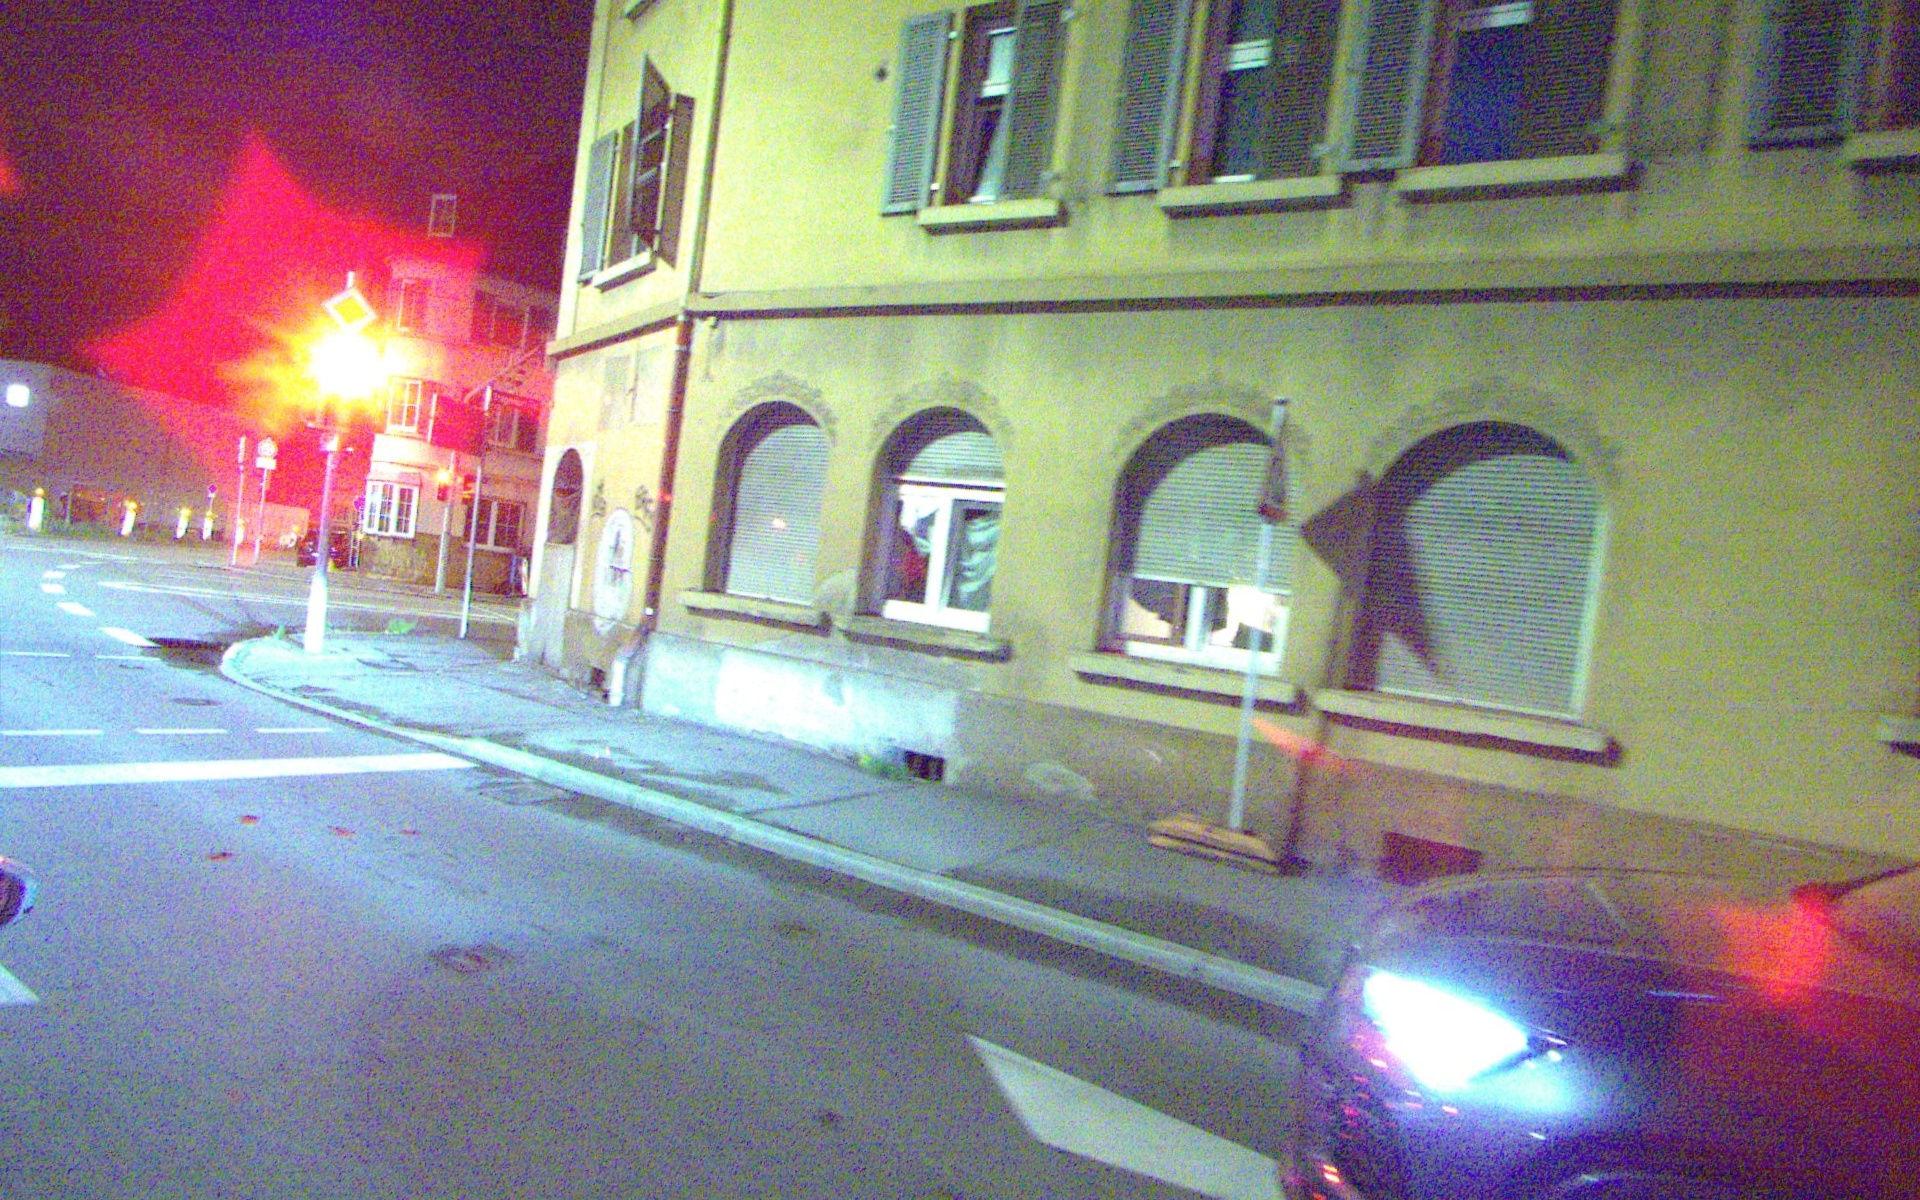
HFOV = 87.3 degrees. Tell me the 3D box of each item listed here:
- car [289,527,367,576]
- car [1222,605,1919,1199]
[{"bbox_3d":[-25.599,-1.922,40.850,1.708,1.631,3.610,7,-1,-18],"label":"car"},{"bbox_3d":[2.741,1.066,1.620,4.159,1.629,1.673,6,-1,31],"label":"car"}]
